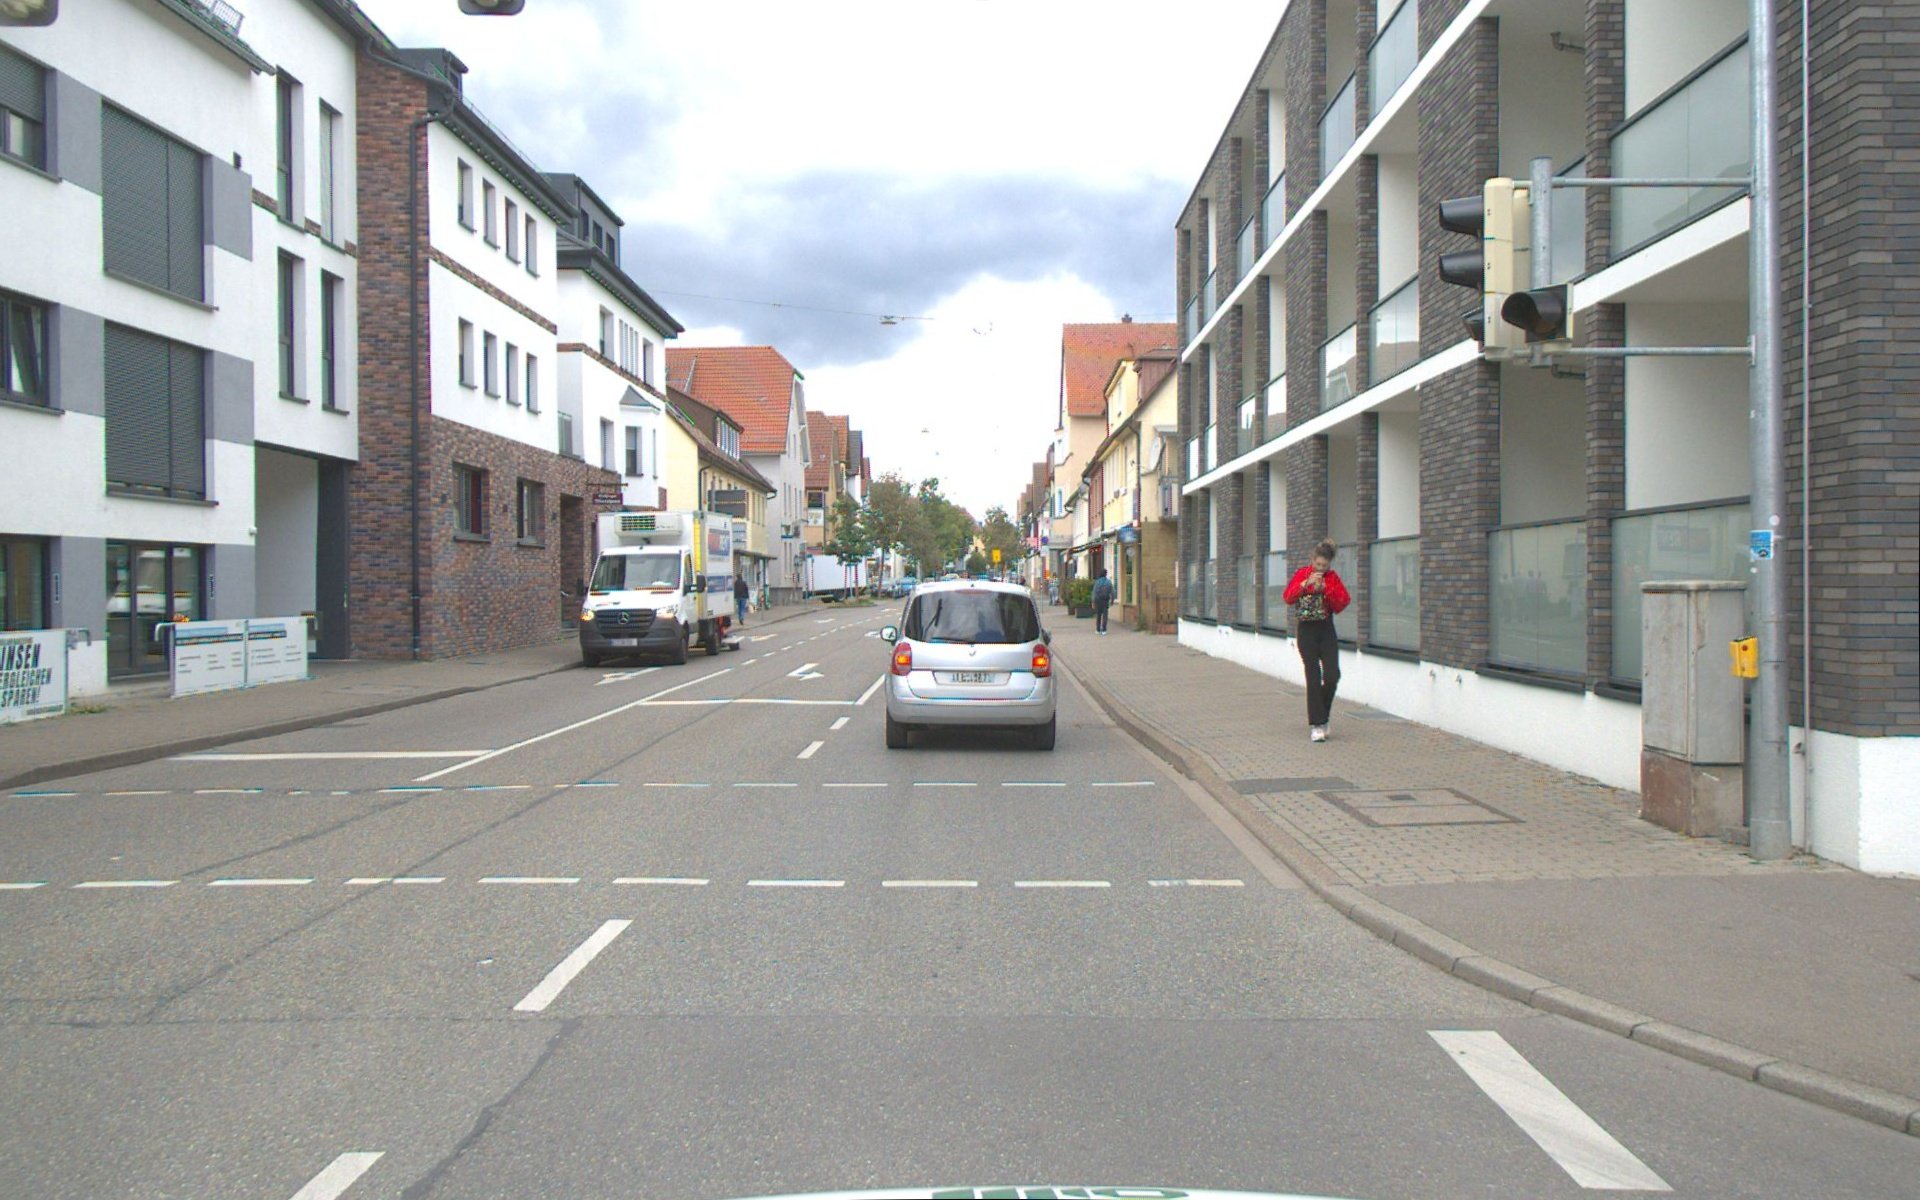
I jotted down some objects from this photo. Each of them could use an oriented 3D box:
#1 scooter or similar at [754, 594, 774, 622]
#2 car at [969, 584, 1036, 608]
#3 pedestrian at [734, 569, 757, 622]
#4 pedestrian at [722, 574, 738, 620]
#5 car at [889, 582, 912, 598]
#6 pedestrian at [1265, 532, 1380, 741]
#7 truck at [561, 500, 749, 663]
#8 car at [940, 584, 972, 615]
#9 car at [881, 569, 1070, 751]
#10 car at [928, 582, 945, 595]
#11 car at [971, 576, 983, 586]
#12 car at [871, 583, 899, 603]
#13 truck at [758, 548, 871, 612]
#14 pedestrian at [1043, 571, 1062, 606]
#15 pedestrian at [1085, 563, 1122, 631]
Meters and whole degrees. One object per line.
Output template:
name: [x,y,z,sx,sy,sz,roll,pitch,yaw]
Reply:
scooter or similar: [-9.266,0.352,78.201,0.563,1.291,2.549,-1,1,1]
car: [2.519,-0.248,97.829,3.675,1.337,1.511,2,0,-21]
pedestrian: [-7.316,-0.167,56.421,0.648,1.787,0.688,1,0,1]
pedestrian: [-7.880,-0.112,56.756,0.417,1.552,0.553,1,0,1]
car: [-5.319,-0.921,148.444,1.775,1.378,4.001,-1,1,1]
pedestrian: [3.292,0.318,15.086,0.791,1.818,0.861,-3,0,1]
truck: [-6.175,-0.381,34.790,2.385,3.005,8.364,0,0,0]
car: [-0.218,-0.037,89.589,1.671,1.606,4.000,2,0,0]
car: [0.141,0.530,17.000,1.671,1.606,4.000,2,0,0]
car: [-2.541,-1.288,178.864,1.775,1.378,3.857,-1,1,1]
car: [2.518,-2.814,241.688,1.775,1.378,4.001,-1,1,1]
car: [-5.487,-0.542,121.855,1.775,1.378,4.001,-1,1,1]
truck: [-9.220,-1.293,105.276,6.764,3.925,2.574,-1,0,-33]
pedestrian: [4.941,-0.631,88.297,0.871,1.818,0.785,-3,0,1]
pedestrian: [3.903,-0.085,45.026,0.871,1.818,0.785,-3,0,1]
